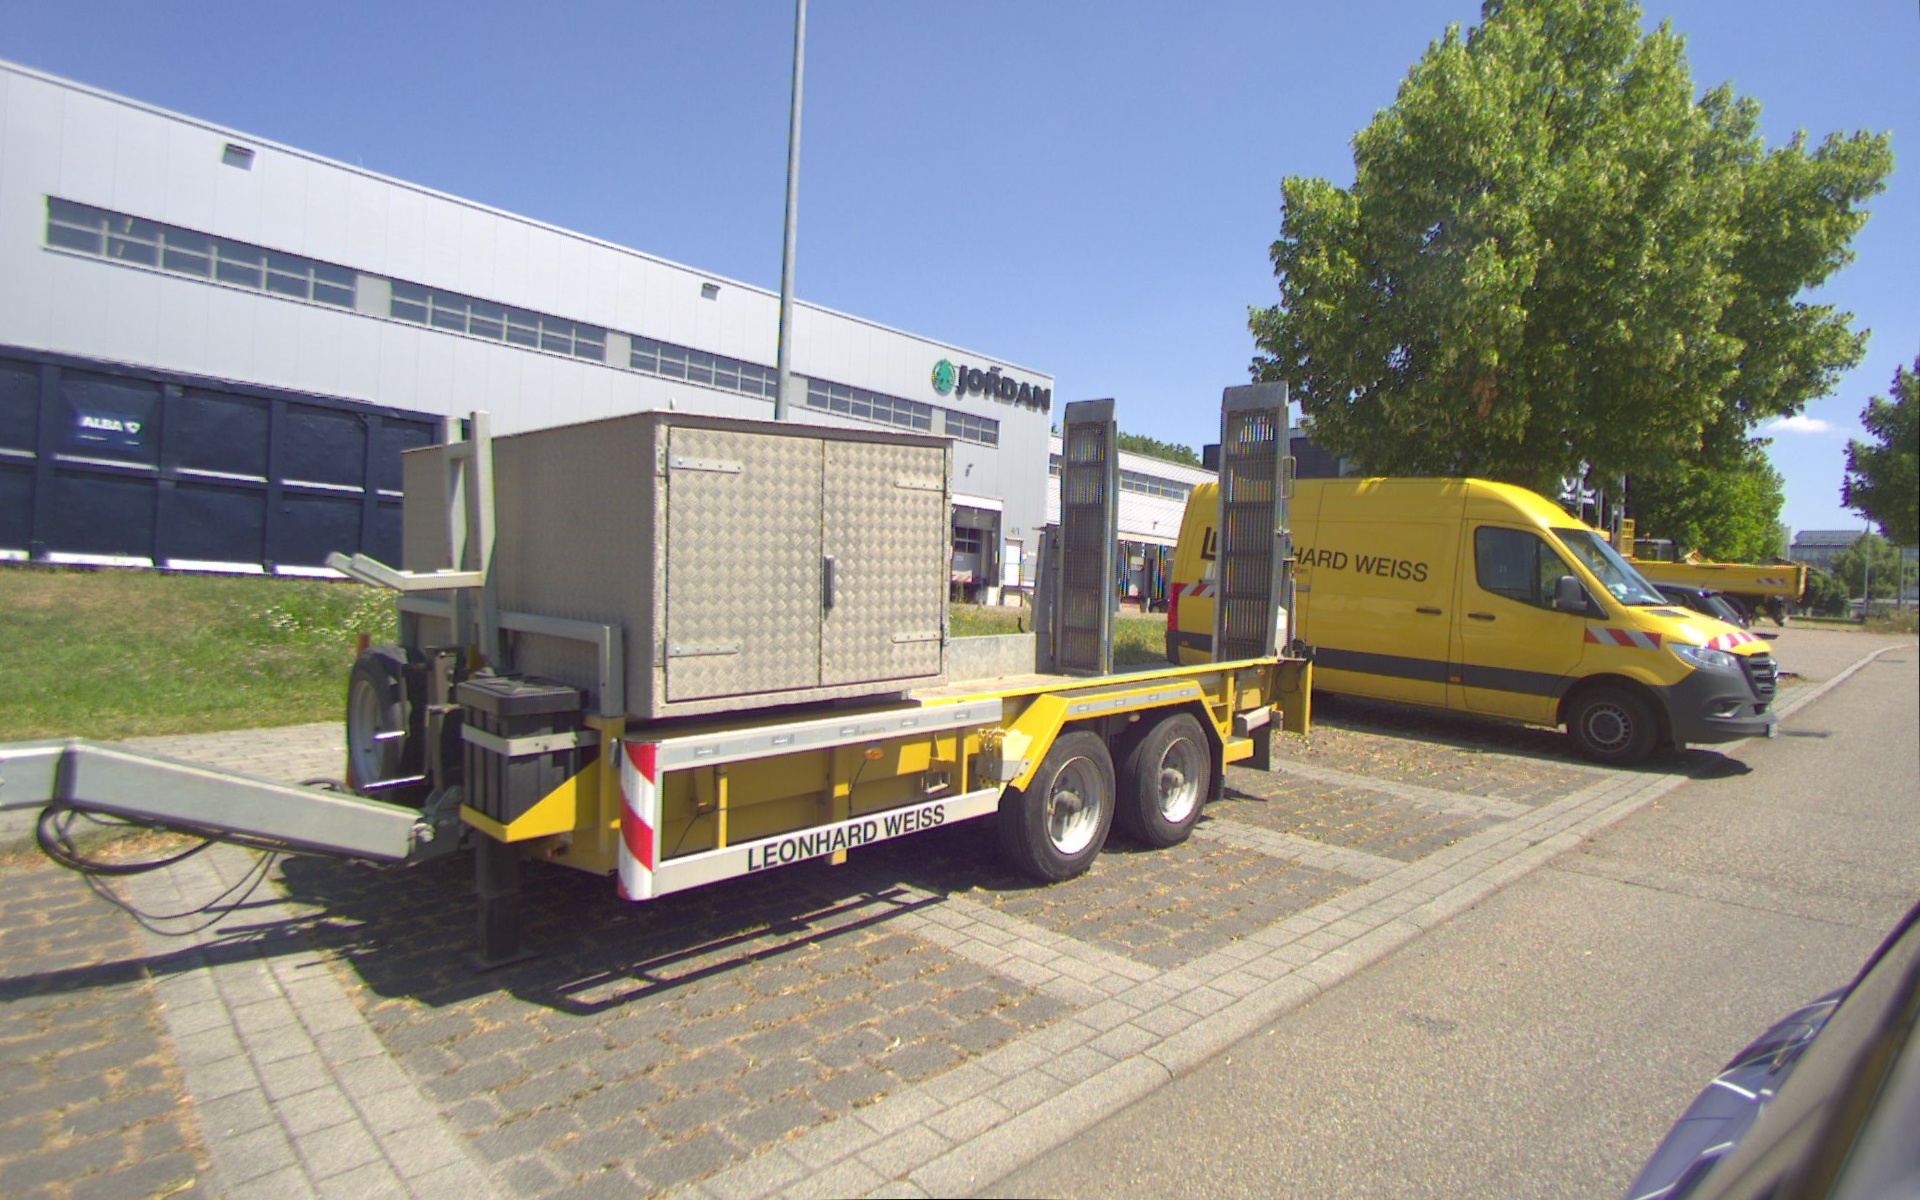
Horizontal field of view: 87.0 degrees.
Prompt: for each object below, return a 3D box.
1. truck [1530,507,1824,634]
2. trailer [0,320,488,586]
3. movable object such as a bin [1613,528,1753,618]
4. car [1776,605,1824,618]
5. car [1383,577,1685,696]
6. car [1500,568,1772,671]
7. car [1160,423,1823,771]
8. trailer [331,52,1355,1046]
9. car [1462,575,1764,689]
[{"bbox_3d":[19.874,-0.890,28.326,6.402,3.174,2.556,3,3,43],"label":"truck"},{"bbox_3d":[-10.187,-1.671,12.544,7.286,2.452,2.662,5,-3,-43],"label":"trailer"},{"bbox_3d":[23.147,-0.844,32.274,6.459,2.613,1.998,-1,1,-39],"label":"movable object such as a bin"},{"bbox_3d":[90.891,1.263,109.568,1.583,1.290,3.834,1,1,-45],"label":"car"},{"bbox_3d":[8.450,0.451,15.083,3.604,1.497,1.602,2,2,45],"label":"car"},{"bbox_3d":[11.759,0.258,17.762,1.600,1.480,3.665,0,3,-43],"label":"car"},{"bbox_3d":[5.184,-0.248,10.823,1.966,2.765,5.791,2,4,-42],"label":"car"},{"bbox_3d":[-0.139,-0.211,5.873,2.656,2.892,5.435,4,3,42],"label":"trailer"},{"bbox_3d":[10.205,0.411,15.995,3.772,1.526,1.565,3,2,45],"label":"car"}]
